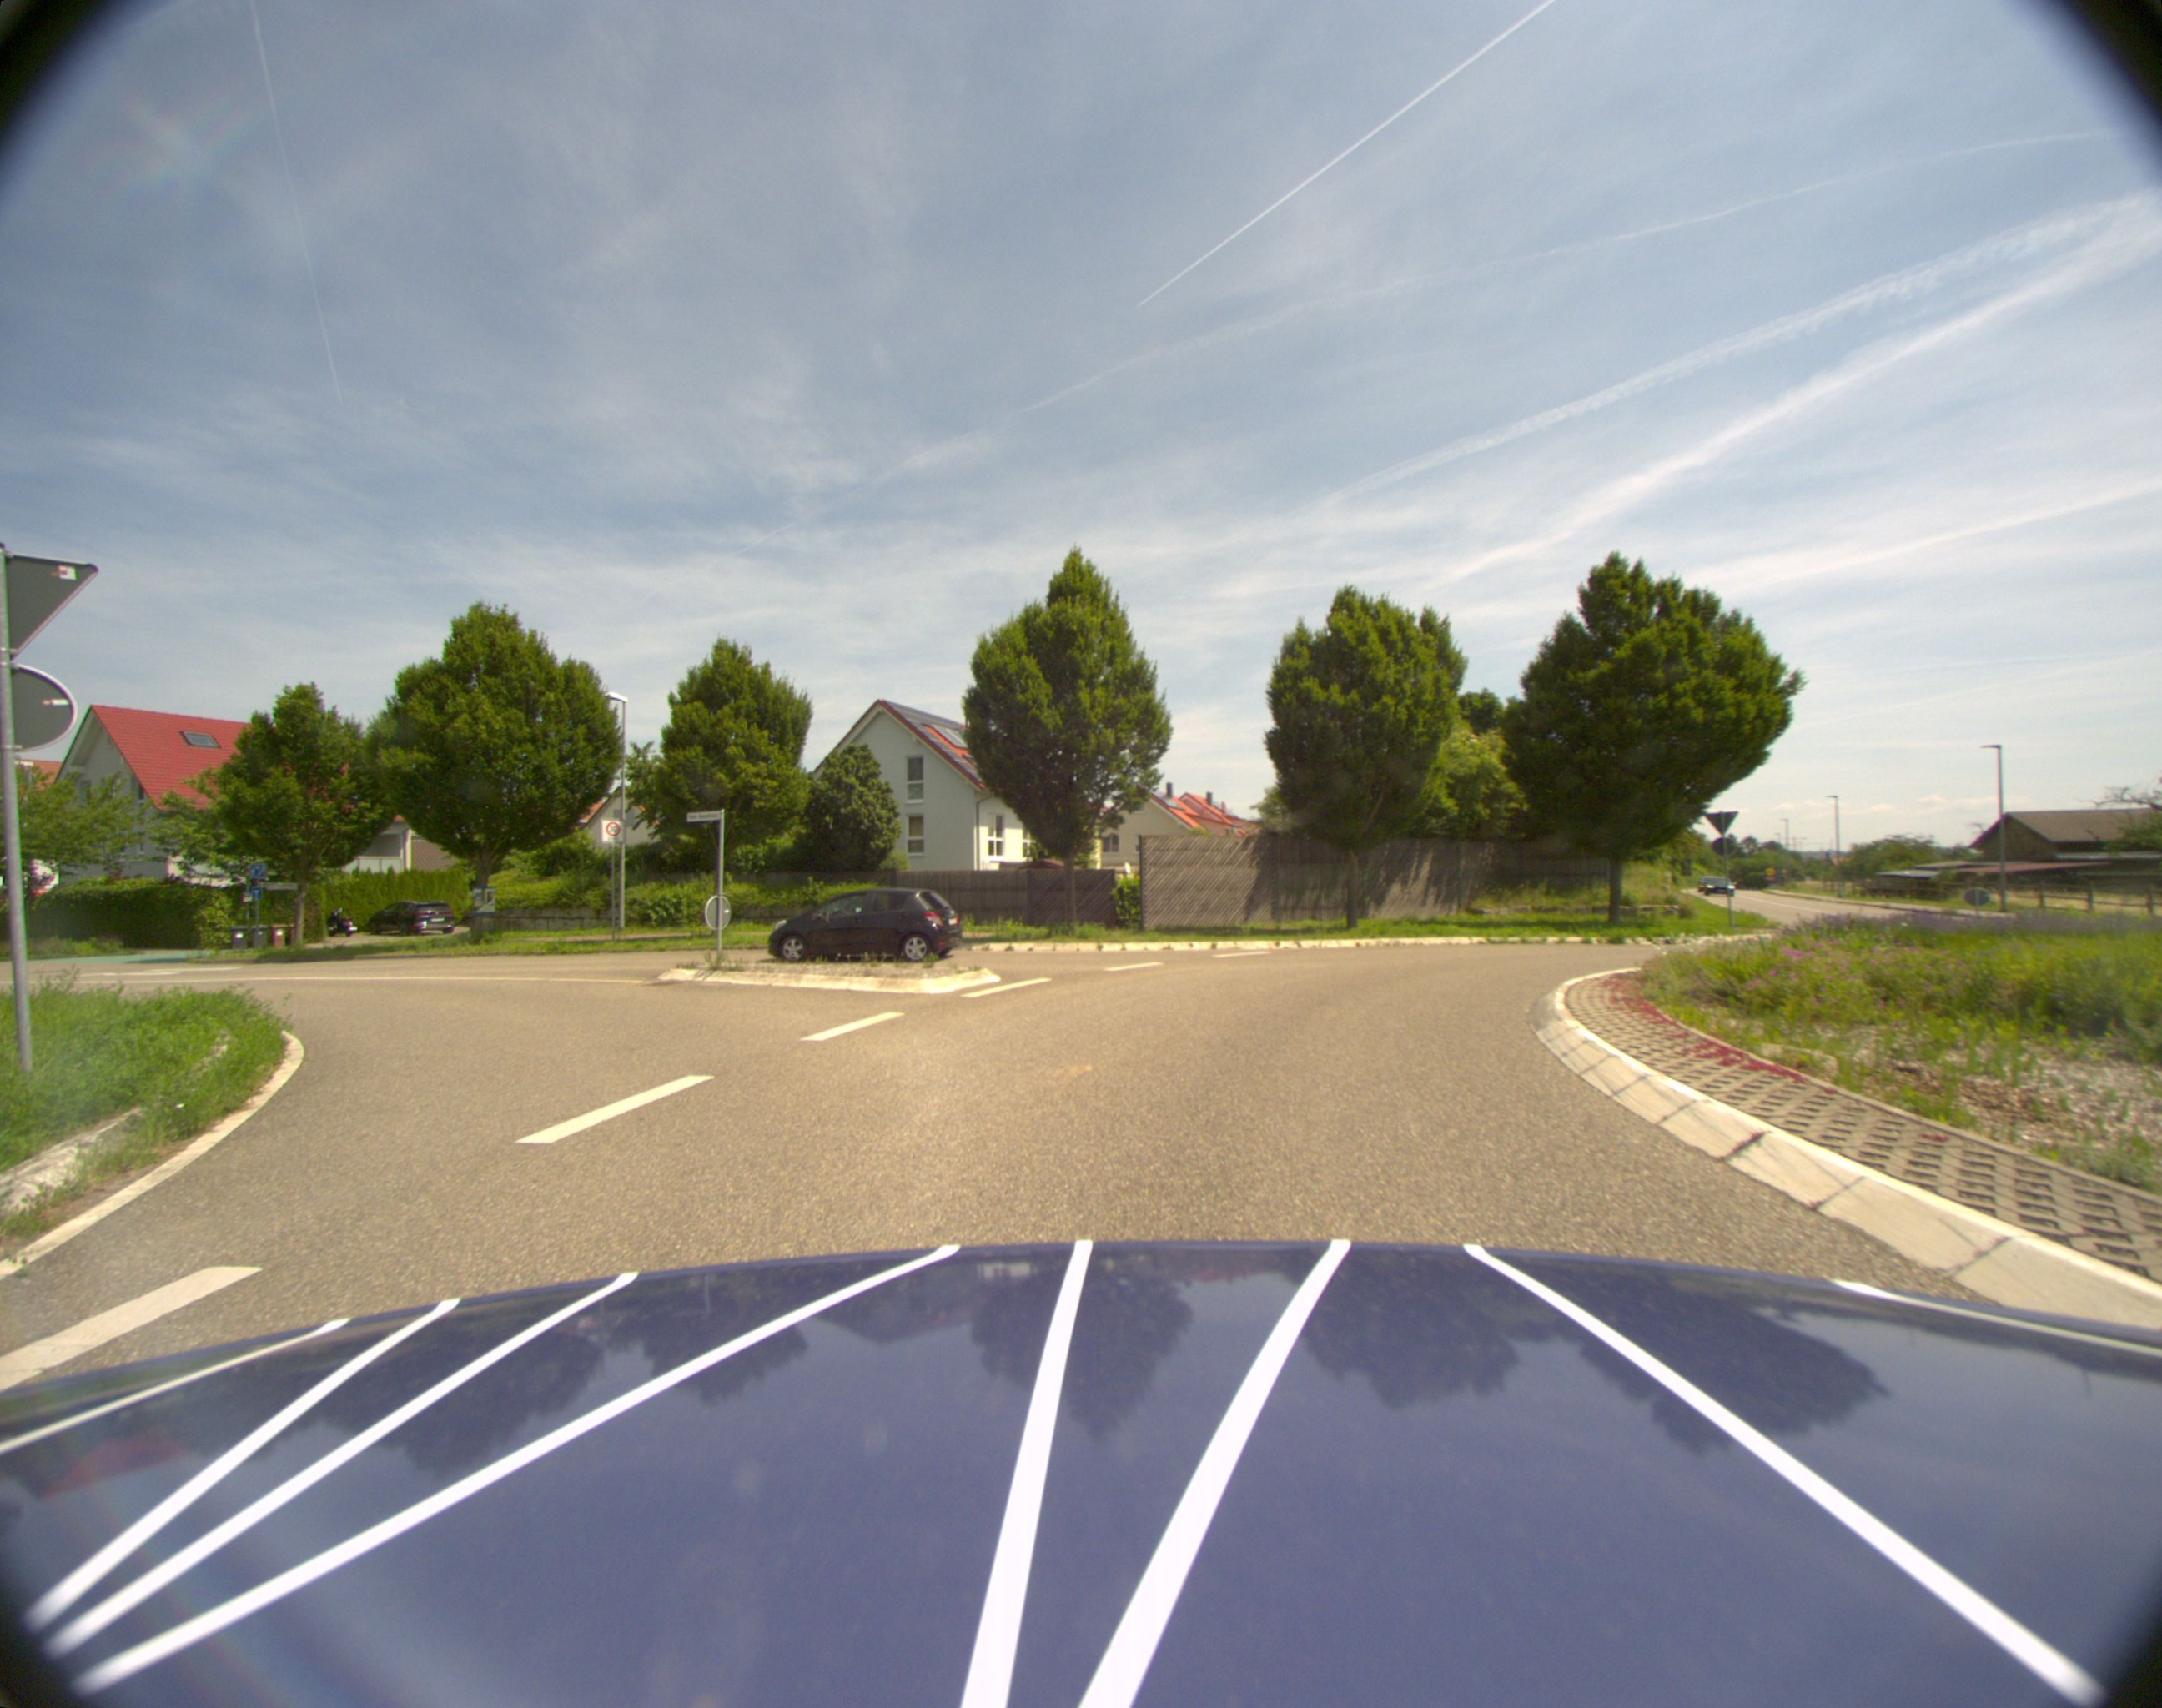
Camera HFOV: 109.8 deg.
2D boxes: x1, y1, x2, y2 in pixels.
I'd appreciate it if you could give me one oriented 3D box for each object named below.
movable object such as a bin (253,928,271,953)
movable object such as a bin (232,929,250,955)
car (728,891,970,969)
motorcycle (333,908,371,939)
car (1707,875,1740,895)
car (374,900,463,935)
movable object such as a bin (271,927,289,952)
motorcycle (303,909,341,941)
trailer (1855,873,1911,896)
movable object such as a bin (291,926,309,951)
[{"bbox_3d":[-32.489,3.434,30.148,0.498,0.960,0.442,-2,-2,38],"label":"movable object such as a bin"},{"bbox_3d":[-32.834,3.426,29.696,0.498,0.960,0.442,-2,-2,38],"label":"movable object such as a bin"},{"bbox_3d":[-4.659,1.523,15.549,4.426,1.455,1.680,-1,-2,7],"label":"car"},{"bbox_3d":[-33.363,3.161,34.781,1.657,1.340,0.853,-2,-1,32],"label":"motorcycle"},{"bbox_3d":[55.925,2.642,66.187,1.611,1.604,4.230,1,0,32],"label":"car"},{"bbox_3d":[-31.540,2.985,36.165,3.990,1.542,1.715,-2,-1,25],"label":"car"},{"bbox_3d":[-32.191,3.440,30.537,0.498,0.960,0.442,-2,-2,38],"label":"movable object such as a bin"},{"bbox_3d":[-33.876,3.151,33.908,1.657,1.340,0.853,-2,-1,32],"label":"motorcycle"},{"bbox_3d":[63.571,2.346,60.325,2.155,1.693,5.040,1,0,36],"label":"trailer"},{"bbox_3d":[-31.850,3.446,30.976,0.498,0.960,0.442,-2,-2,38],"label":"movable object such as a bin"}]
